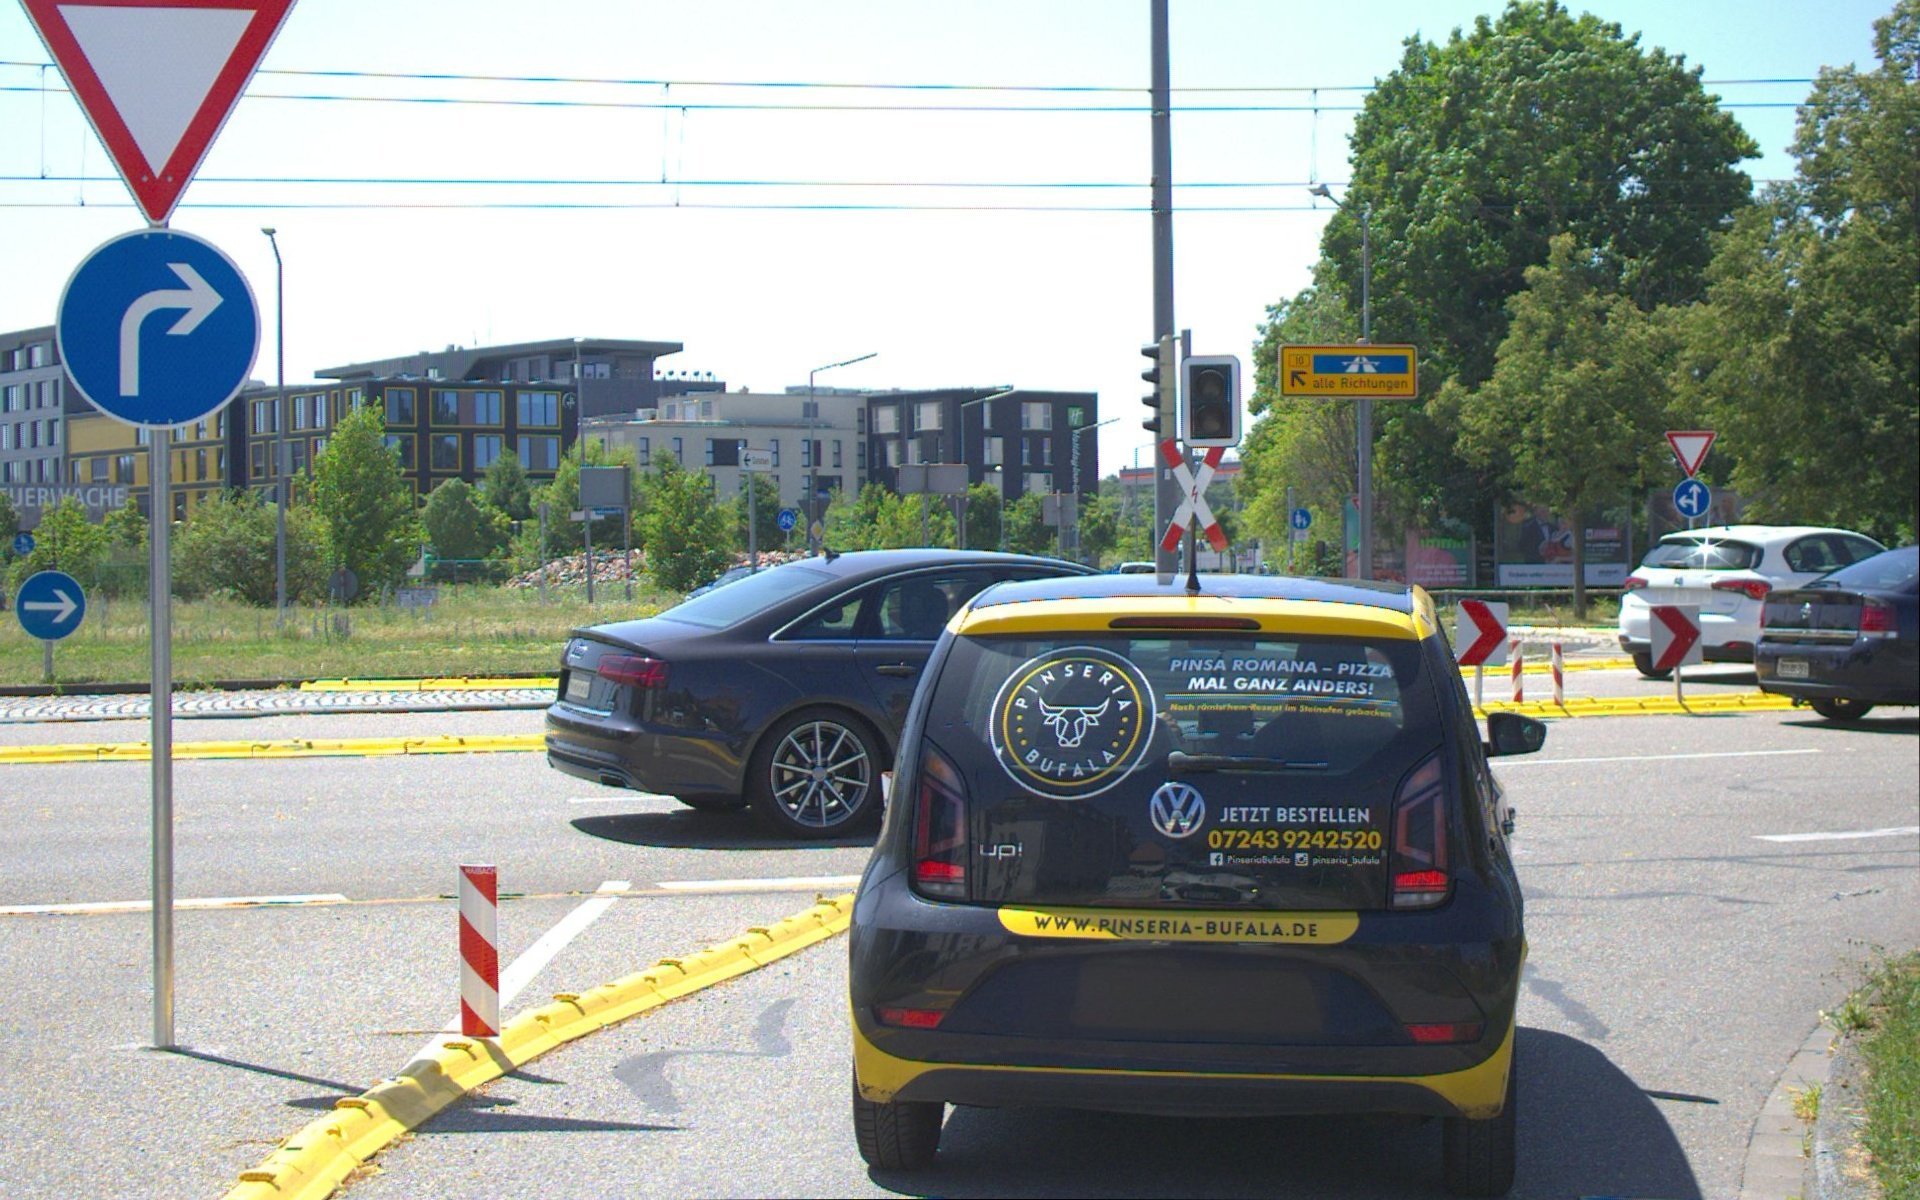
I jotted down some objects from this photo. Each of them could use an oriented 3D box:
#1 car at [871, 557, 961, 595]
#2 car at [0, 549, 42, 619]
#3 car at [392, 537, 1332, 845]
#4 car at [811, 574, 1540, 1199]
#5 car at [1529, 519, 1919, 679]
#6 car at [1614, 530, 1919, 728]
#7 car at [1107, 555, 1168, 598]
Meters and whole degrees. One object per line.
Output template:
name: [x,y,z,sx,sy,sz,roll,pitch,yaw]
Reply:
car: [-1.313,-0.740,104.615,1.495,1.086,3.516,0,1,22]
car: [-21.461,-0.328,71.967,4.035,1.456,1.730,-1,1,-29]
car: [-0.555,0.416,18.390,4.633,1.443,2.001,0,3,-19]
car: [0.550,0.670,9.724,1.618,1.446,3.986,1,1,2]
car: [7.668,-0.050,34.017,1.998,1.481,4.356,0,1,42]
car: [7.705,0.209,26.948,4.742,1.444,2.001,0,1,-23]
car: [5.805,-0.778,112.187,1.659,1.368,3.031,0,1,9]
